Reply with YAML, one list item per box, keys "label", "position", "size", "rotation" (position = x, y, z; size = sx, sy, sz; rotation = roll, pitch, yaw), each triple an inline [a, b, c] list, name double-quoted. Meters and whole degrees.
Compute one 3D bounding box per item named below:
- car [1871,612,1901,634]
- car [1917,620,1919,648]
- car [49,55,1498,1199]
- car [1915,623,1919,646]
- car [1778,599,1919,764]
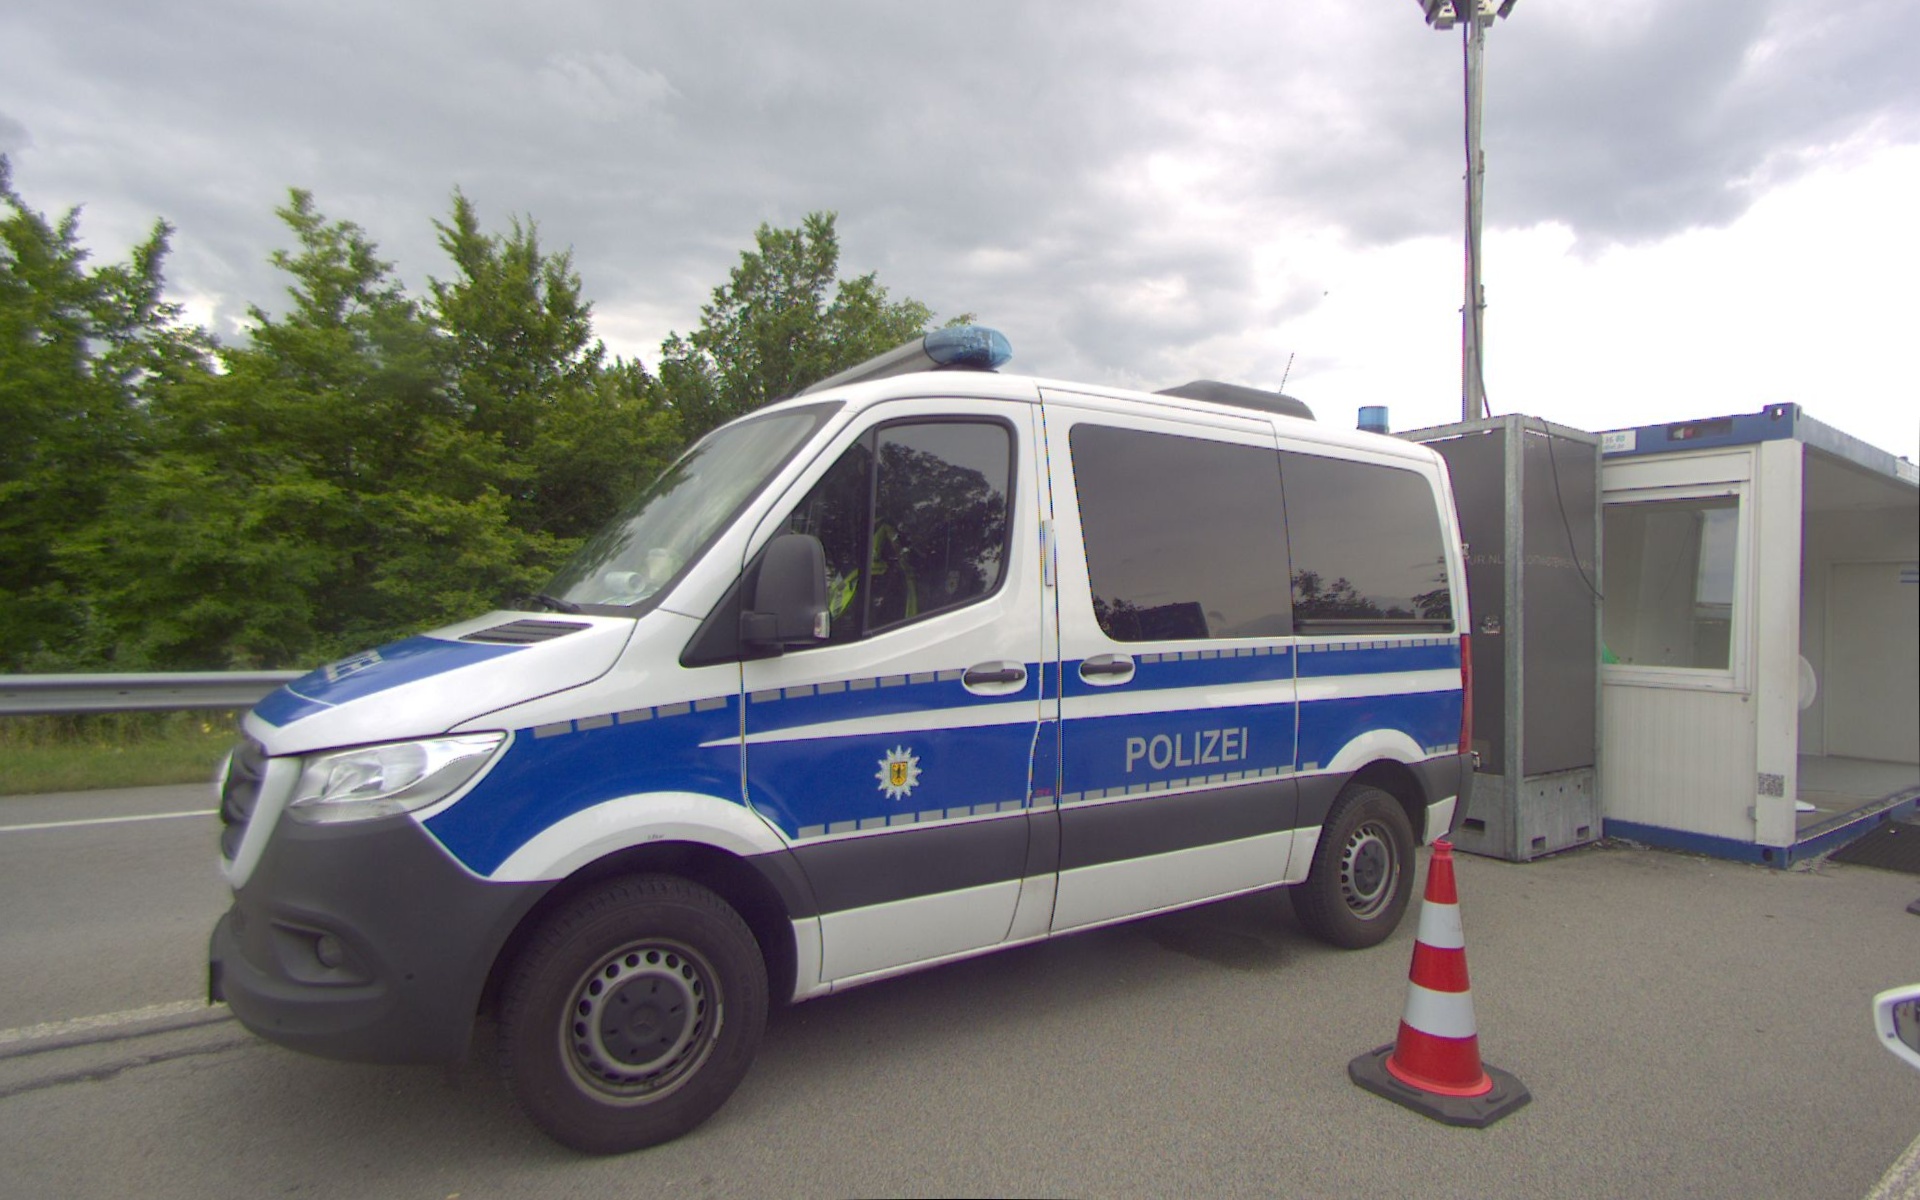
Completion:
- label: "car"
  position: [97.098, 2.377, 105.370]
  size: [1.831, 2.252, 4.242]
  rotation: [1, 0, 36]
- label: "car"
  position: [54.005, 1.912, 55.187]
  size: [4.226, 1.518, 1.838]
  rotation: [2, 0, -43]
- label: "car"
  position: [-0.130, 0.239, 4.259]
  size: [5.224, 2.496, 2.017]
  rotation: [1, 0, -34]
- label: "car"
  position: [65.244, 2.316, 67.203]
  size: [1.834, 1.518, 4.234]
  rotation: [1, 0, 42]
- label: "car"
  position: [11.812, 0.922, 12.196]
  size: [3.967, 1.767, 1.857]
  rotation: [1, 0, -34]
